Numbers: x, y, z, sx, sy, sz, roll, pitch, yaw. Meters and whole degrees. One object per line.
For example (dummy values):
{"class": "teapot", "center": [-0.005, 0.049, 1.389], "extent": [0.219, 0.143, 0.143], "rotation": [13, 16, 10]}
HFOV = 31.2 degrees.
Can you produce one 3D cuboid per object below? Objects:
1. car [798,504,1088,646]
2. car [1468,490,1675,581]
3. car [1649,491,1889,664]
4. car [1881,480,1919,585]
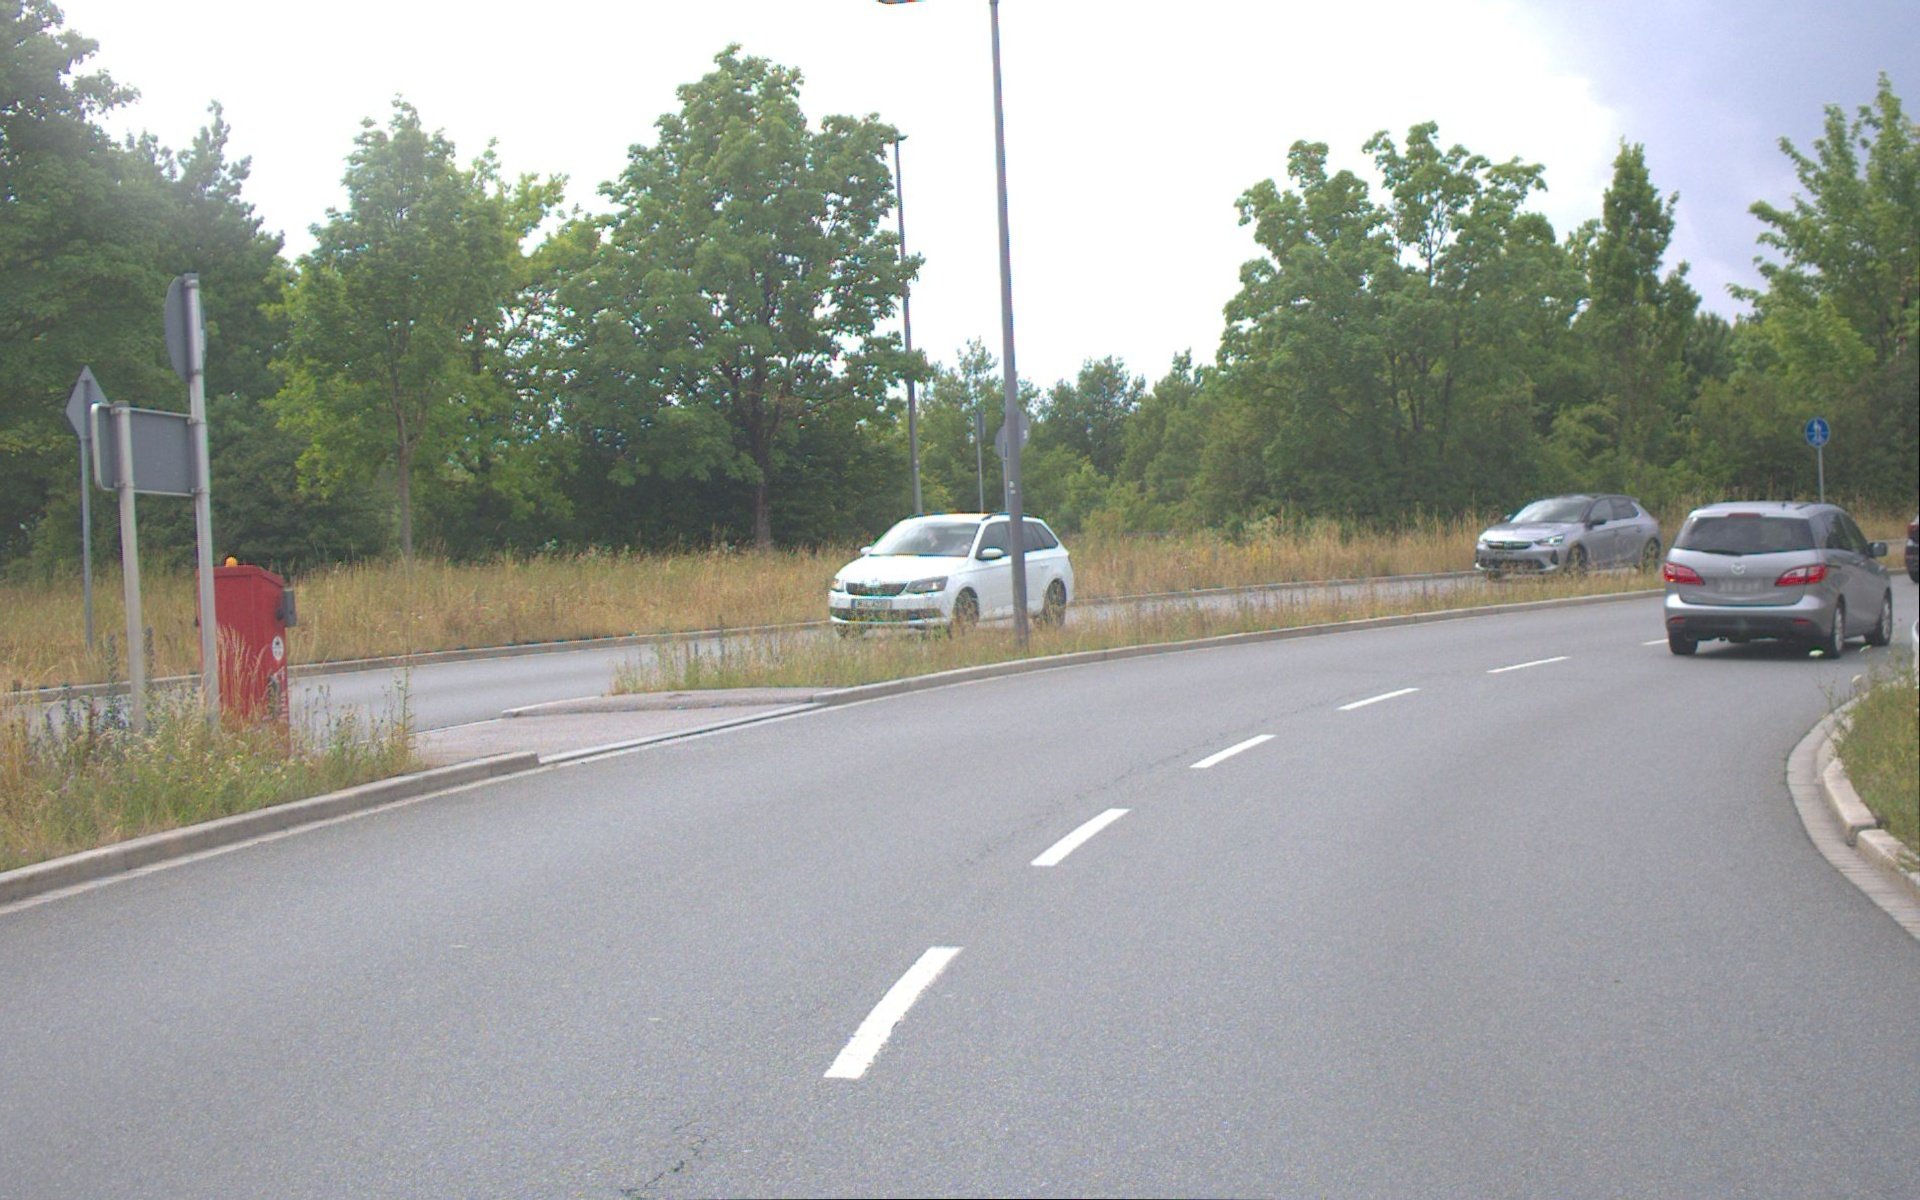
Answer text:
{"class": "car", "center": [-0.147, -0.330, 41.791], "extent": [1.717, 1.629, 4.261], "rotation": [0, 1, 28]}
{"class": "car", "center": [10.339, -1.102, 57.946], "extent": [1.462, 1.481, 4.086], "rotation": [0, 1, 42]}
{"class": "car", "center": [8.631, -0.183, 36.451], "extent": [1.769, 1.611, 3.916], "rotation": [-3, -3, 23]}
{"class": "car", "center": [16.071, -1.069, 53.839], "extent": [1.873, 1.600, 3.726], "rotation": [0, 1, 38]}
